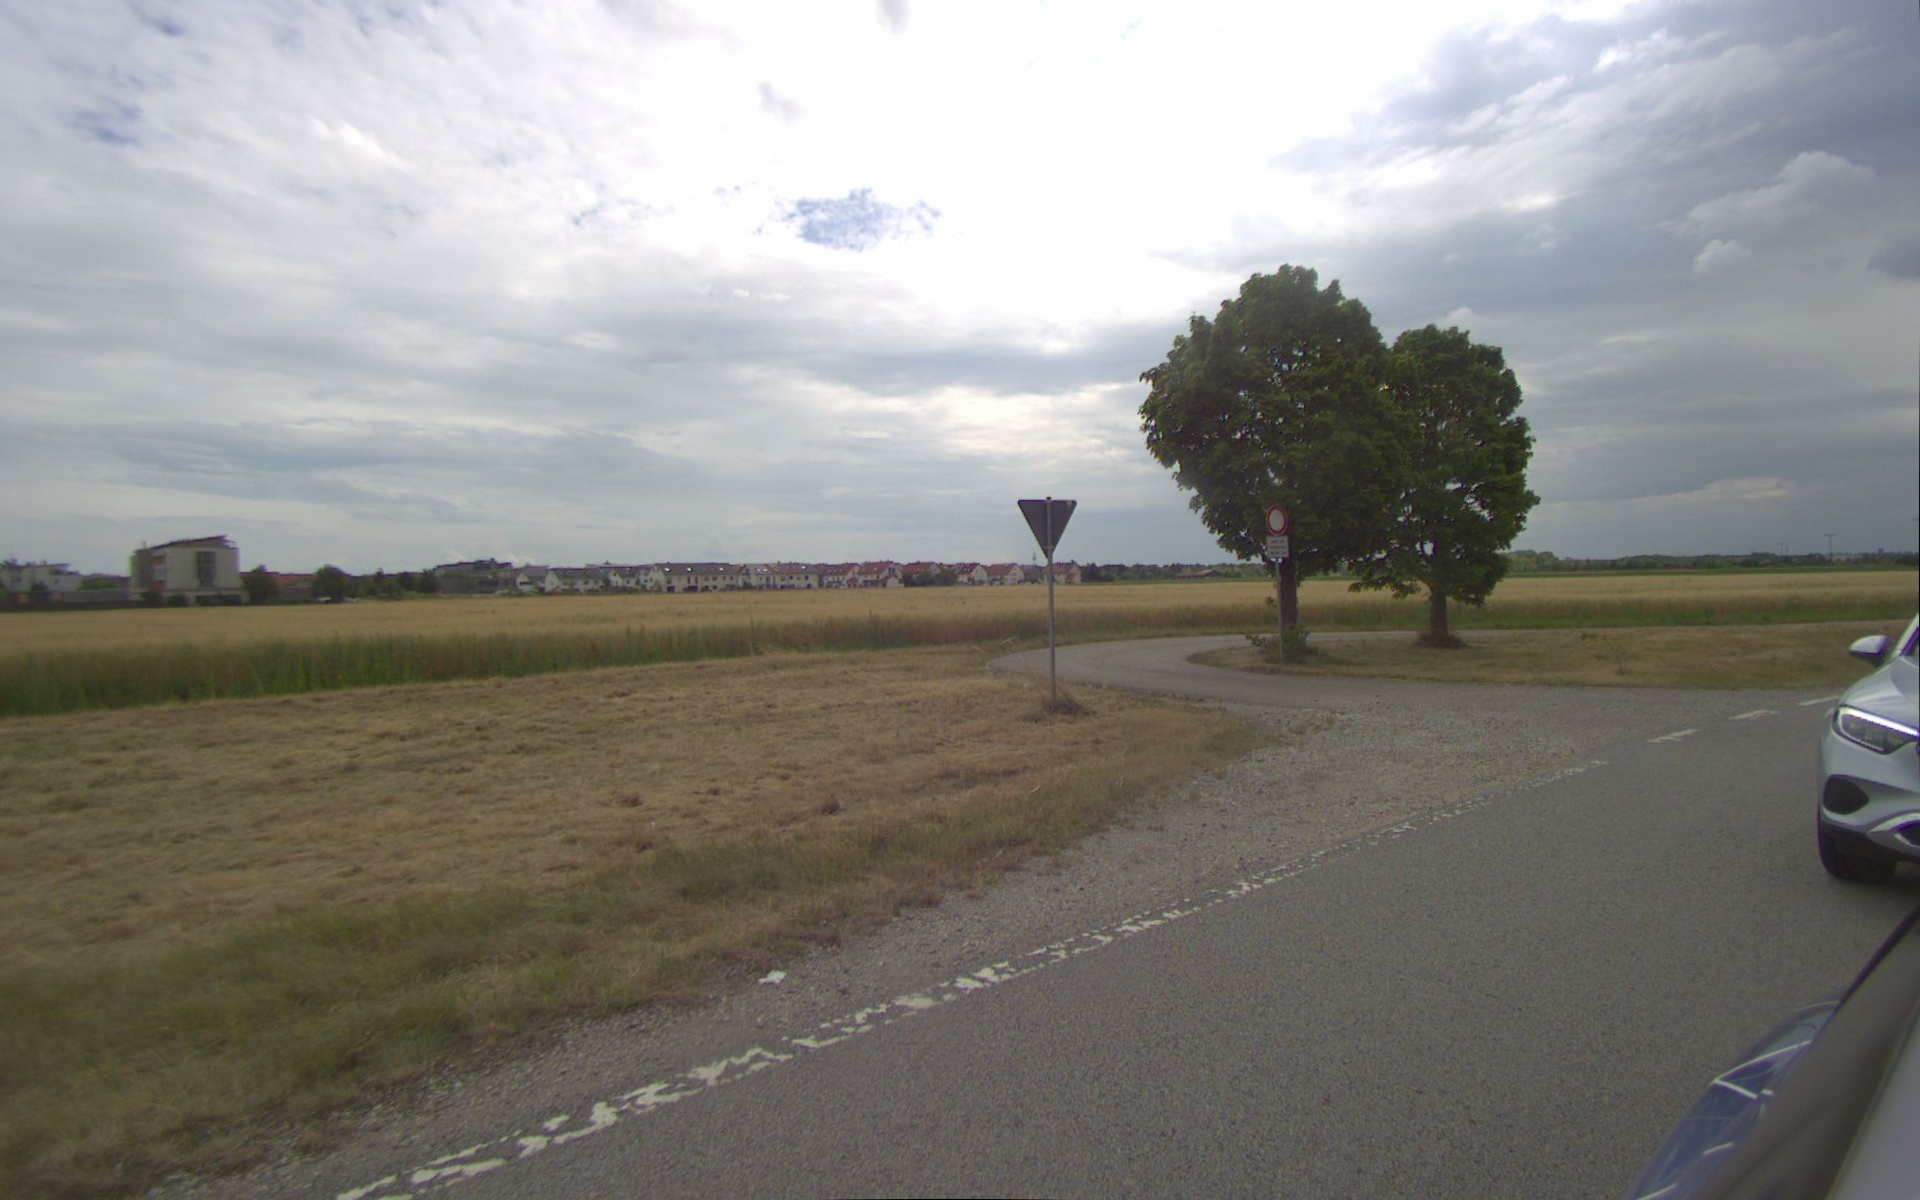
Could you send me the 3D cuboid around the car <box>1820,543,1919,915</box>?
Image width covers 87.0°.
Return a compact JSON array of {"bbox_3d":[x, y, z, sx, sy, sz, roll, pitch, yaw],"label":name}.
[{"bbox_3d":[6.177,0.532,5.358,4.372,1.606,1.835,-1,1,-41],"label":"car"}]
